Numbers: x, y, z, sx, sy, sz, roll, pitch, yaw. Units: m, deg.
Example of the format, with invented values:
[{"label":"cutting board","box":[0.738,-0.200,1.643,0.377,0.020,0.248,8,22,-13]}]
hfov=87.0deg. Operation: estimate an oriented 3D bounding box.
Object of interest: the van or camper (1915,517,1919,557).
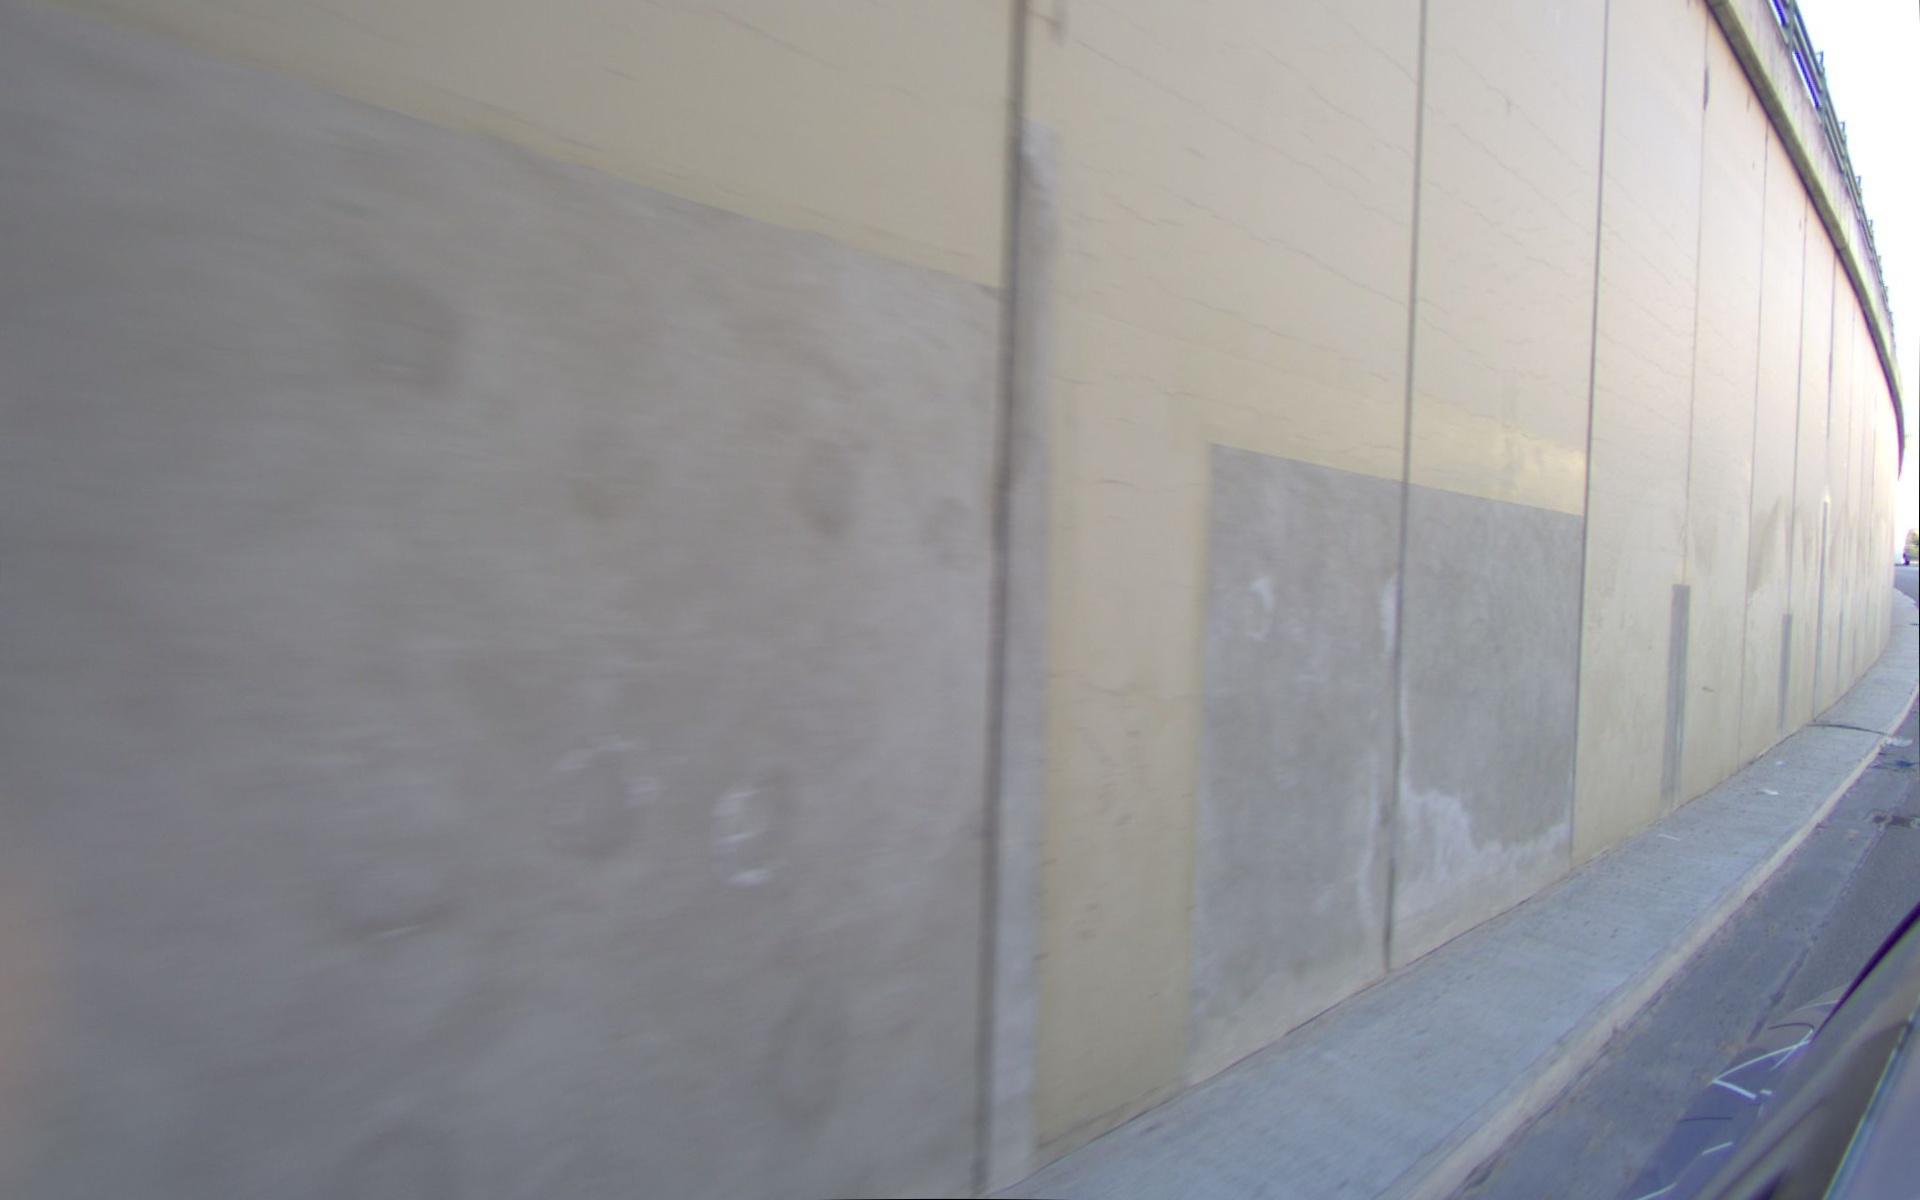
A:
[{"label":"van or camper","box":[62.536,-4.052,63.851,2.186,2.644,6.744,-1,2,34]}]
